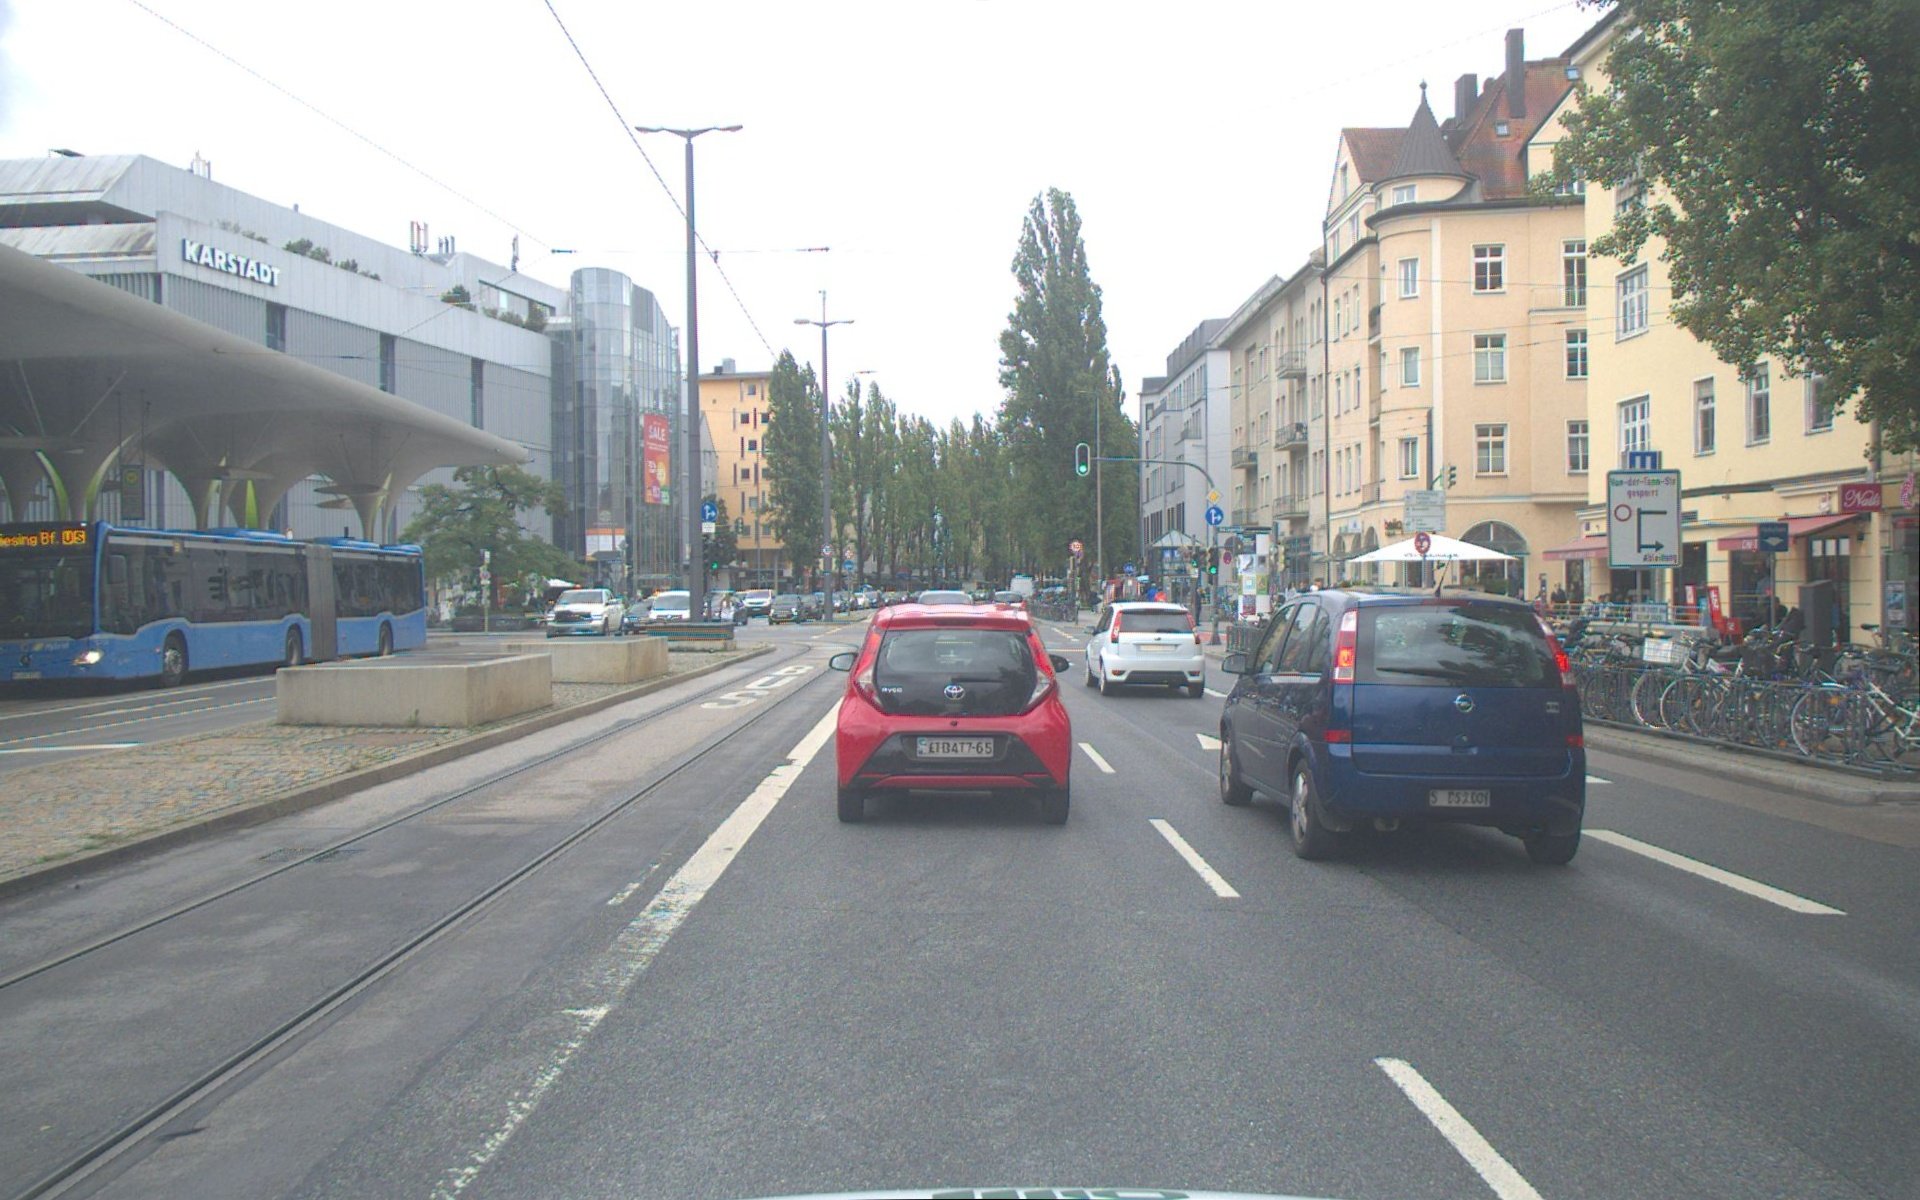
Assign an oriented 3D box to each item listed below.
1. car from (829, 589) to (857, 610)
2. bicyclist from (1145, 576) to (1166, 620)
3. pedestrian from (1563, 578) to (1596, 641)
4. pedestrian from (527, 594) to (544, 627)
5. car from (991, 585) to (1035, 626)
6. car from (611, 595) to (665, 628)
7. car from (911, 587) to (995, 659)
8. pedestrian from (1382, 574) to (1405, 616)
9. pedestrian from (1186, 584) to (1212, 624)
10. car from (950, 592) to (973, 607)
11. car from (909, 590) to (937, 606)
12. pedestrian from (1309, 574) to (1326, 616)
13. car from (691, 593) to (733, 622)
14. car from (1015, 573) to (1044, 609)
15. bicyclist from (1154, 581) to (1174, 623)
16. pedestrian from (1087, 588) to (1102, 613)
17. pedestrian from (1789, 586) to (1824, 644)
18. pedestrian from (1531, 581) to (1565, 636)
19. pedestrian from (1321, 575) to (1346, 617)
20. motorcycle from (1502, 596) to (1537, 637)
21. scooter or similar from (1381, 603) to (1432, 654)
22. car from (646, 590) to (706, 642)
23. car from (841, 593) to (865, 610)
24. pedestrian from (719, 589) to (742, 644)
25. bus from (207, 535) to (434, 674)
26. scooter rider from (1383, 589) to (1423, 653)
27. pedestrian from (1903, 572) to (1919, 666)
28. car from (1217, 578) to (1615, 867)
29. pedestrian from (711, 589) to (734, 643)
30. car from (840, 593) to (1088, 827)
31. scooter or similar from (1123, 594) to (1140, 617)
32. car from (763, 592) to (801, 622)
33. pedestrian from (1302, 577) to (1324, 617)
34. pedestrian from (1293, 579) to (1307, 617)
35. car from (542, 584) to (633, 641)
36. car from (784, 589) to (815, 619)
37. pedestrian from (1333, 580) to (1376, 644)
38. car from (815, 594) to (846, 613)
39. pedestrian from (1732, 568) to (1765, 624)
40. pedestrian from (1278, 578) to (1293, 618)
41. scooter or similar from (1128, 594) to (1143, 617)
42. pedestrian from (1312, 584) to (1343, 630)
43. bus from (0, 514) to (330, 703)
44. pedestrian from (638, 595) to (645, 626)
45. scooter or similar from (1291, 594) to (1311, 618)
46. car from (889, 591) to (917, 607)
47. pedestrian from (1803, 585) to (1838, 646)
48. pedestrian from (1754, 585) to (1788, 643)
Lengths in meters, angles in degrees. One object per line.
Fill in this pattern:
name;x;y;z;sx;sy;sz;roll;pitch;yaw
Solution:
car;-9.663;-0.047;136.837;1.706;1.699;4.735;-1;1;4
bicyclist;8.542;-0.097;72.389;0.747;1.902;1.133;-1;0;0
pedestrian;16.394;0.250;43.785;0.602;1.661;0.677;-1;0;-1
pedestrian;-23.282;0.585;90.732;0.739;1.804;0.767;-1;0;-24
car;2.528;0.249;80.092;1.953;1.870;4.000;-1;0;-1
car;-14.585;0.492;75.117;1.639;1.402;4.612;-1;0;-2
car;-0.192;0.536;40.690;1.953;1.646;3.999;-1;0;-1
pedestrian;18.613;-0.221;71.003;0.671;1.714;0.742;2;4;43
pedestrian;10.457;0.177;72.316;0.820;1.720;0.816;-1;0;37
car;0.233;-0.032;199.242;1.951;1.758;3.920;-1;0;13
car;-3.927;-0.223;175.714;1.951;1.721;4.925;0;0;11
pedestrian;15.682;-0.232;72.508;0.635;1.781;0.637;-1;3;5
car;-12.603;0.374;84.191;1.644;1.420;4.231;-1;0;-2
car;5.492;-0.685;131.135;2.063;2.766;4.804;-1;0;0
bicyclist;8.235;0.063;66.804;0.601;1.686;1.251;-1;0;0
pedestrian;8.482;0.007;104.478;0.782;1.548;0.810;-1;0;-6
pedestrian;19.353;0.342;37.818;0.485;1.312;0.552;-1;0;-1
pedestrian;15.766;0.234;44.351;0.662;1.447;0.616;-1;0;-1
pedestrian;16.217;-0.179;71.798;0.914;1.786;1.066;-1;0;5
motorcycle;16.482;0.467;48.744;0.476;1.176;1.571;-1;0;0
scooter or similar;9.939;0.624;36.855;0.760;1.094;1.256;-1;0;-2
car;-11.031;0.594;64.395;1.750;1.887;4.216;-2;0;-3
car;-9.327;0.130;144.639;1.729;1.446;4.639;-1;0;0
pedestrian;-7.054;0.506;50.841;0.513;1.646;0.461;-1;0;43
bus;-15.909;0.071;41.812;2.606;3.060;7.514;-3;0;1
scooter rider;9.891;0.461;36.968;0.686;1.413;0.643;-1;0;-2
pedestrian;17.254;0.323;29.250;0.696;1.661;0.786;-1;0;-1
car;2.832;0.679;11.041;1.668;1.617;3.556;0;0;0
pedestrian;-7.341;0.500;51.116;0.482;1.646;0.551;-1;0;-35
car;0.041;0.696;12.128;1.572;1.487;3.130;0;0;0
scooter or similar;9.279;0.282;89.514;0.357;1.196;1.345;-1;0;29
car;-9.054;0.346;83.983;1.518;1.471;3.528;-1;0;-12
pedestrian;15.621;-0.143;73.249;0.637;1.734;0.726;-3;4;-30
pedestrian;15.106;-0.079;73.506;0.548;1.637;0.568;-1;3;12
car;-13.378;0.418;59.789;2.131;1.920;6.153;-1;0;-2
car;-8.633;0.186;88.785;1.475;1.561;2.831;-1;0;-9
pedestrian;11.214;0.341;47.051;0.867;1.773;0.854;-1;0;-17
car;-9.994;0.228;127.828;1.952;1.436;4.168;0;0;1
pedestrian;20.236;-0.106;42.469;0.534;1.421;0.547;-1;0;-27
pedestrian;14.438;-0.092;73.396;0.554;1.699;0.562;0;3;22
scooter or similar;9.443;0.288;89.168;0.294;1.196;1.275;-1;0;29
pedestrian;12.793;0.238;57.620;0.717;1.567;0.887;-1;0;-15
bus;-15.727;0.127;32.772;2.607;3.060;10.512;-3;0;-2
pedestrian;-18.996;0.628;98.704;0.349;1.790;0.444;-1;0;-20
scooter or similar;14.969;0.255;72.570;0.802;1.011;0.594;-1;3;5
car;-5.738;-0.097;166.078;1.951;1.561;4.591;-1;0;9
pedestrian;19.146;0.343;36.809;0.485;1.355;0.552;-1;0;-1
pedestrian;18.522;0.323;37.790;0.485;1.312;0.552;-1;0;-1
